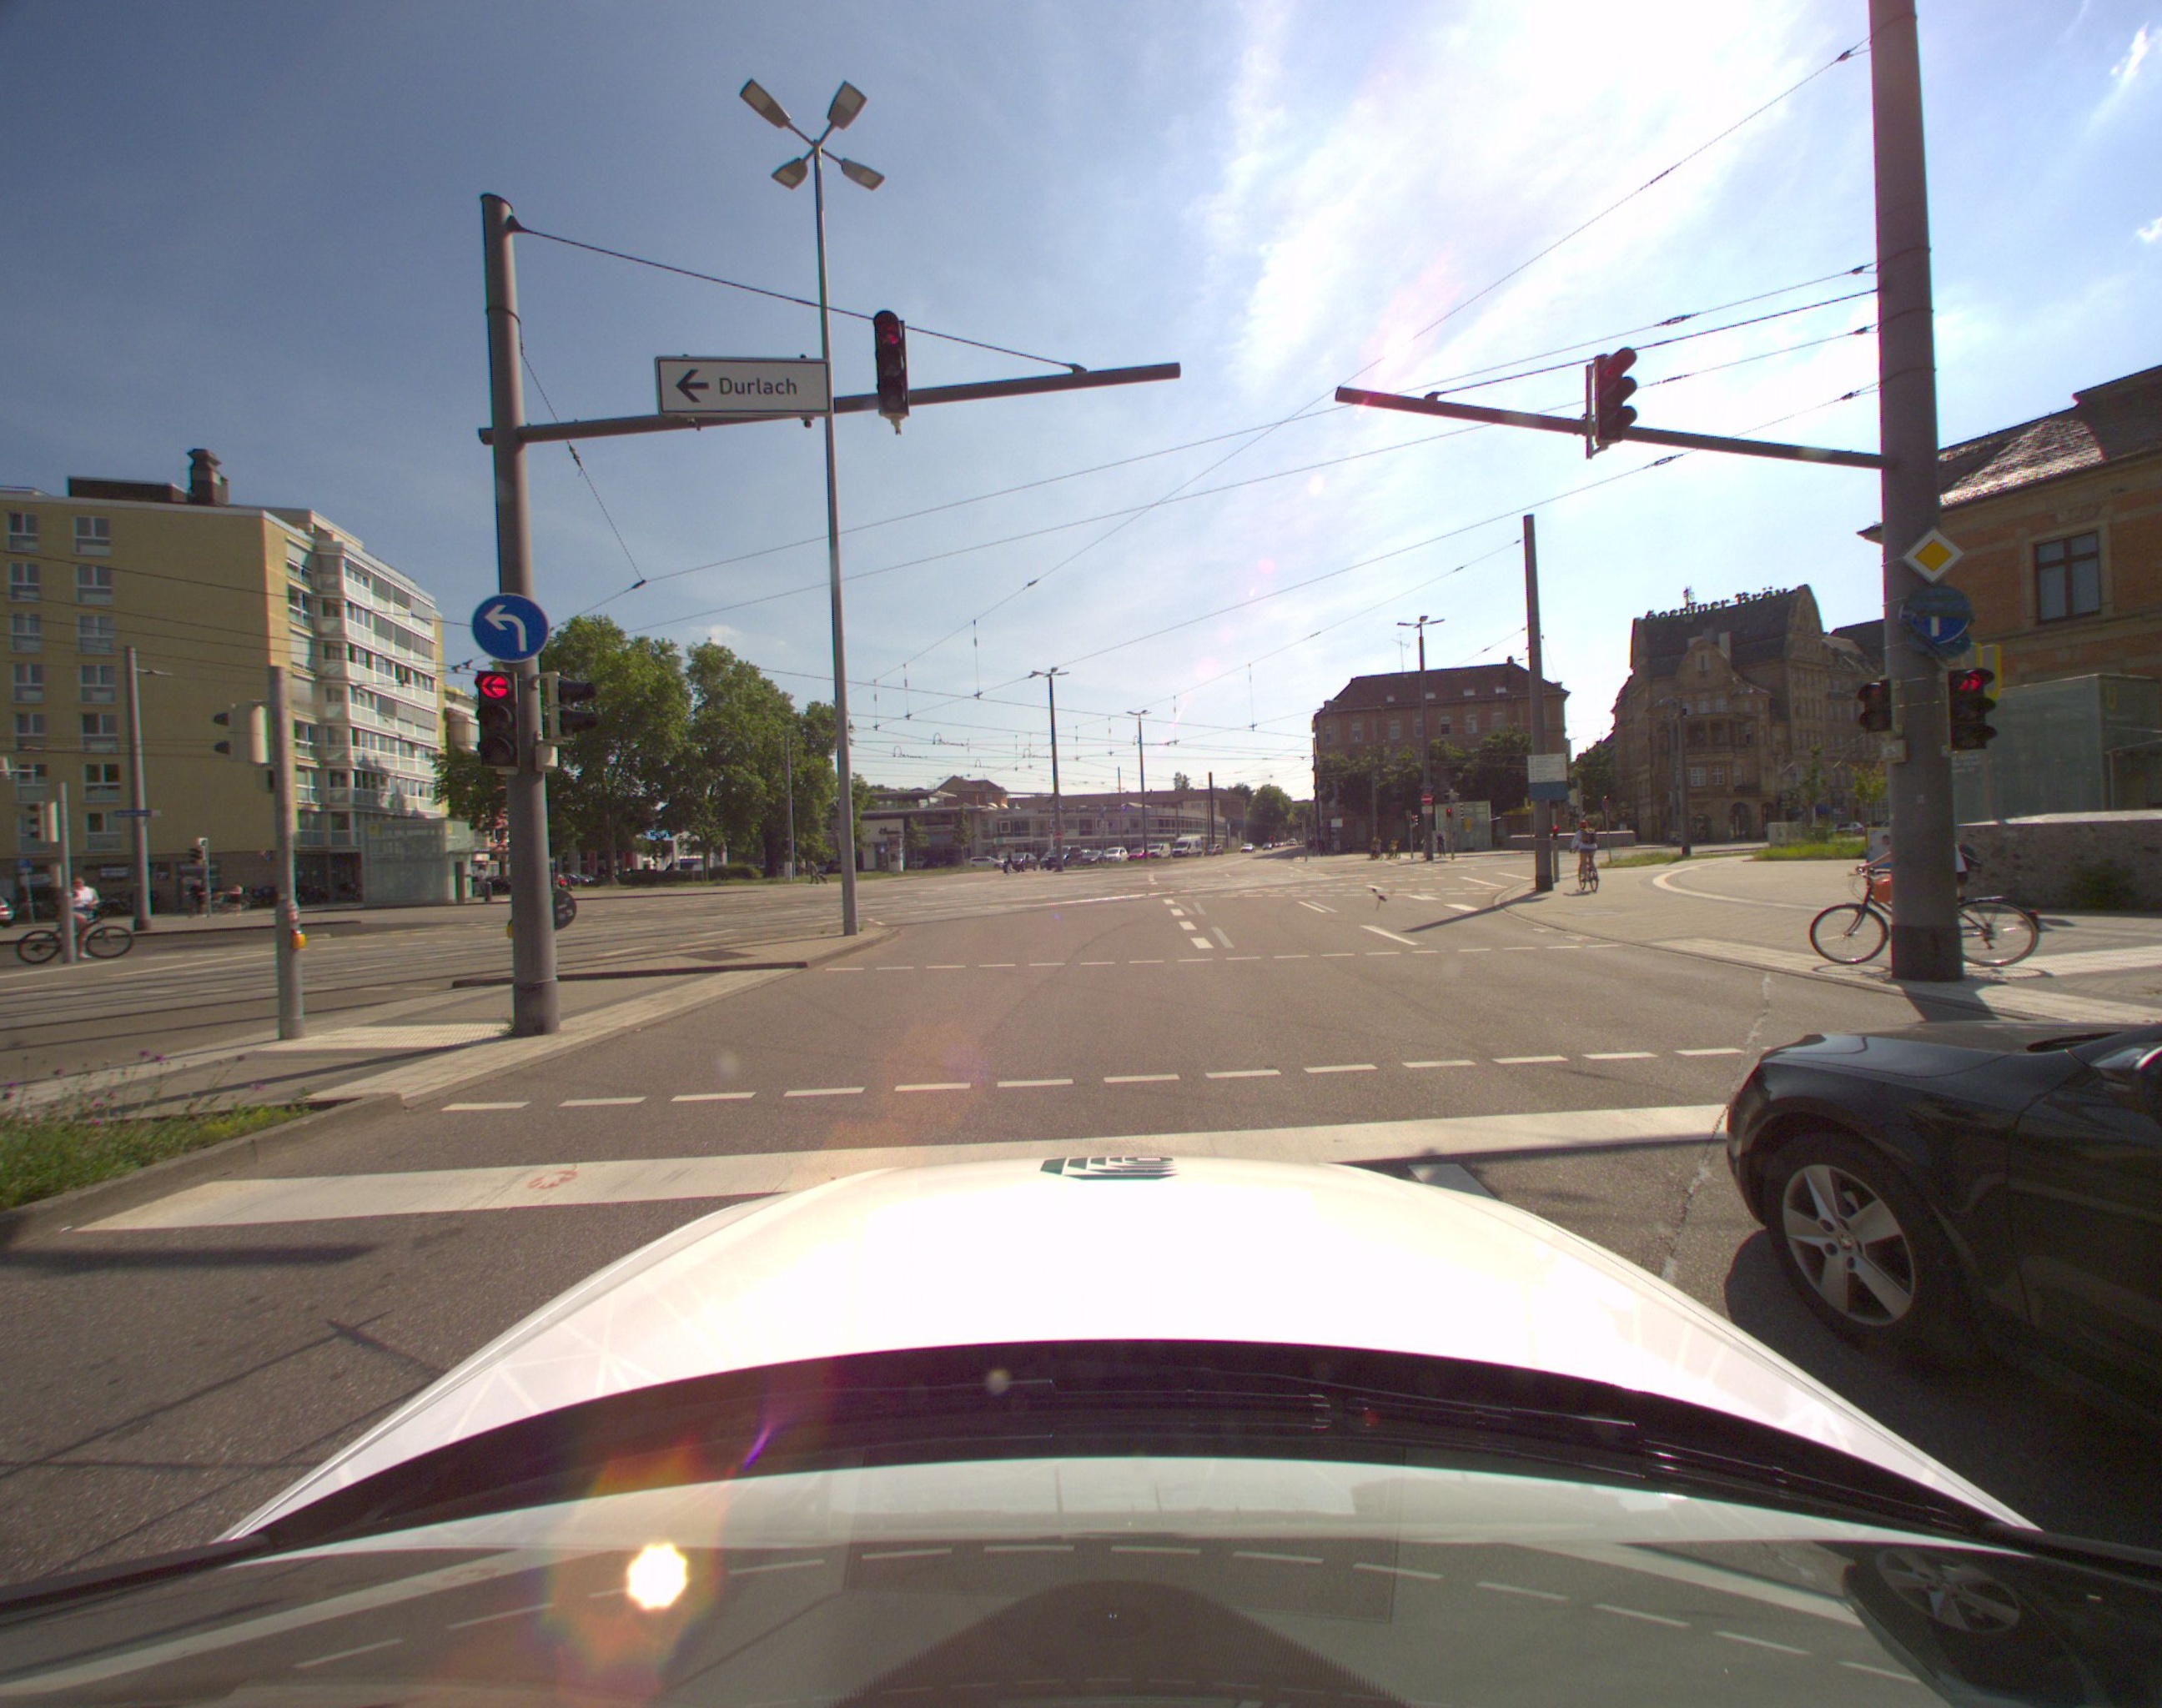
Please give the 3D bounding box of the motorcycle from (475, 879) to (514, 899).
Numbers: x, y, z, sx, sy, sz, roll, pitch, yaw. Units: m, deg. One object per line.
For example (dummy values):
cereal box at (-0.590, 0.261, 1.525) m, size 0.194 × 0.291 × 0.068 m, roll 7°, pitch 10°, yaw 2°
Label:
motorcycle at (-35.748, 2.131, 49.650) m, size 2.019 × 1.062 × 0.642 m, roll -2°, pitch 0°, yaw 9°

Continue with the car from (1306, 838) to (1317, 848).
car at (46.575, -2.234, 164.632) m, size 2.092 × 2.013 × 4.017 m, roll -2°, pitch 0°, yaw 16°

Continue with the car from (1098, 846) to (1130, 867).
car at (3.243, 0.279, 78.438) m, size 1.879 × 1.917 × 4.220 m, roll -3°, pitch -1°, yaw 19°

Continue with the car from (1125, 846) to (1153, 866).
car at (6.138, 0.221, 85.370) m, size 1.879 × 1.917 × 4.220 m, roll -3°, pitch -1°, yaw 19°

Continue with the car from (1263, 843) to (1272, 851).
car at (37.724, -1.384, 164.520) m, size 1.372 × 1.414 × 3.028 m, roll -1°, pitch -1°, yaw 21°

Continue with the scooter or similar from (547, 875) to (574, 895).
scooter or similar at (-32.099, 1.915, 50.210) m, size 1.351 × 1.119 × 0.519 m, roll -2°, pitch 0°, yaw 11°

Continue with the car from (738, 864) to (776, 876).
car at (-40.976, 2.032, 102.947) m, size 3.973 × 1.371 × 2.000 m, roll 0°, pitch 0°, yaw 1°

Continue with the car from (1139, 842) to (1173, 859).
car at (8.564, -0.406, 92.374) m, size 2.165 × 1.680 × 5.058 m, roll -3°, pitch 0°, yaw 24°

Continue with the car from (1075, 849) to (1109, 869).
car at (0.992, 0.458, 71.292) m, size 1.880 × 1.588 × 4.017 m, roll -3°, pitch -1°, yaw 16°

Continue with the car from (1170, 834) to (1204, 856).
car at (13.114, -1.023, 100.540) m, size 2.188 × 2.575 × 5.910 m, roll -1°, pitch -1°, yaw 28°

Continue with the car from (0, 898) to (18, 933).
car at (-49.271, 2.839, 36.500) m, size 3.948 × 1.440 × 1.825 m, roll -5°, pitch -2°, yaw 35°

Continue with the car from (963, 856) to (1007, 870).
car at (-10.393, 0.952, 88.370) m, size 4.550 × 1.436 × 1.450 m, roll -1°, pitch -1°, yaw 15°

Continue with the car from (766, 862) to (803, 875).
car at (-38.581, 1.871, 105.936) m, size 3.974 × 1.552 × 2.000 m, roll -2°, pitch 0°, yaw 0°

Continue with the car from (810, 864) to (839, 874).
car at (-31.993, 1.862, 101.784) m, size 1.983 × 1.244 × 4.008 m, roll 0°, pitch 0°, yaw 7°

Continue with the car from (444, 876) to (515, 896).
car at (-46.437, 2.442, 62.957) m, size 3.994 × 1.440 × 1.881 m, roll 0°, pitch -1°, yaw -15°

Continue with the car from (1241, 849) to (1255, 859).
car at (26.464, 0.041, 128.975) m, size 1.371 × 1.625 × 3.359 m, roll -1°, pitch -1°, yaw 26°

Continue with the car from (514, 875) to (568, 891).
car at (-49.707, 2.649, 74.981) m, size 3.729 × 1.340 × 1.735 m, roll 0°, pitch -1°, yaw -15°

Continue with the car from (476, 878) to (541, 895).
car at (-47.309, 2.655, 67.382) m, size 3.994 × 1.270 × 1.735 m, roll 0°, pitch -1°, yaw -15°

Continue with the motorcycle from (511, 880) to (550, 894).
motorcycle at (-36.866, 2.216, 54.562) m, size 0.632 × 0.842 × 2.051 m, roll -2°, pitch 0°, yaw 35°

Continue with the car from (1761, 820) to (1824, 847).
car at (39.129, -1.115, 44.760) m, size 3.464 × 1.313 × 1.655 m, roll -3°, pitch 0°, yaw -32°

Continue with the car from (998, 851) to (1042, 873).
car at (-4.761, 0.653, 64.262) m, size 1.876 × 1.588 × 4.230 m, roll -3°, pitch -1°, yaw 19°

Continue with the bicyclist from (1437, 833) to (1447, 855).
bicyclist at (26.940, -0.758, 60.742) m, size 0.661 × 1.624 × 0.787 m, roll -1°, pitch 0°, yaw 24°

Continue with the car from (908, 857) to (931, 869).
car at (-20.033, 1.120, 101.060) m, size 1.987 × 1.486 × 4.000 m, roll 0°, pitch 0°, yaw 0°

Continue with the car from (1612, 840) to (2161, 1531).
car at (3.041, 0.668, 1.036) m, size 1.625 × 1.435 × 4.779 m, roll -1°, pitch -1°, yaw 0°

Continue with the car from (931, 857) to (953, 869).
car at (-17.261, 1.107, 100.965) m, size 1.987 × 1.486 × 4.000 m, roll 0°, pitch 0°, yaw 0°

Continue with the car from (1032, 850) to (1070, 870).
car at (-2.576, 0.522, 71.026) m, size 1.879 × 1.588 × 4.019 m, roll -3°, pitch -1°, yaw 19°

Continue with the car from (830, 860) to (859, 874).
car at (-29.632, 1.628, 102.125) m, size 1.983 × 1.684 × 4.008 m, roll 0°, pitch -1°, yaw 7°

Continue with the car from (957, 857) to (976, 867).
car at (-14.100, 0.961, 100.501) m, size 1.824 × 1.195 × 4.000 m, roll 0°, pitch 0°, yaw 1°

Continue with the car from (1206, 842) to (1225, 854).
car at (18.921, -0.800, 114.253) m, size 1.371 × 1.656 × 3.782 m, roll -1°, pitch -1°, yaw 30°

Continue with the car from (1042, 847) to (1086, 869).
car at (-1.292, 0.289, 64.793) m, size 1.945 × 1.587 × 4.739 m, roll -2°, pitch 0°, yaw 19°

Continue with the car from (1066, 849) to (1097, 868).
car at (0.080, 0.447, 78.290) m, size 1.638 × 1.739 × 4.220 m, roll -3°, pitch -1°, yaw 19°
